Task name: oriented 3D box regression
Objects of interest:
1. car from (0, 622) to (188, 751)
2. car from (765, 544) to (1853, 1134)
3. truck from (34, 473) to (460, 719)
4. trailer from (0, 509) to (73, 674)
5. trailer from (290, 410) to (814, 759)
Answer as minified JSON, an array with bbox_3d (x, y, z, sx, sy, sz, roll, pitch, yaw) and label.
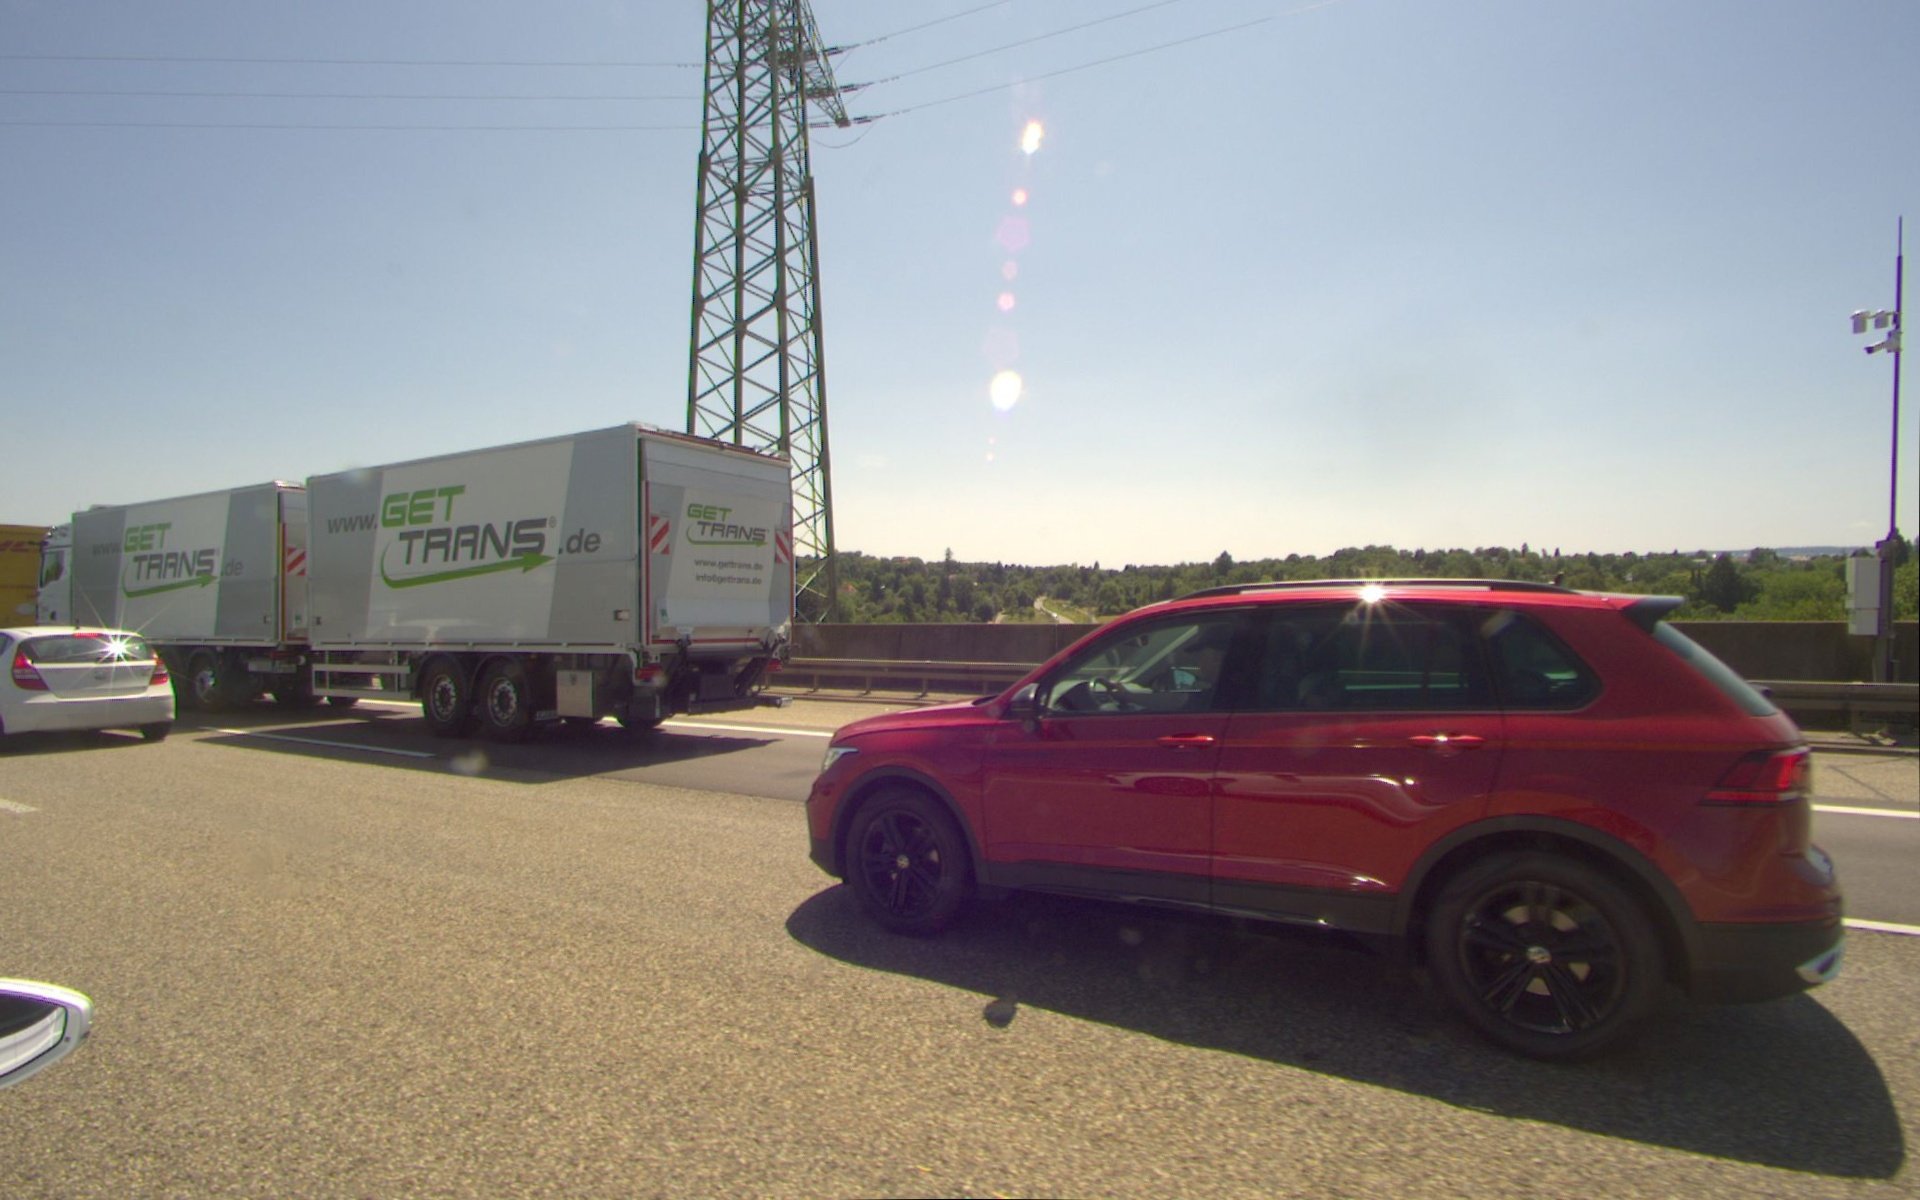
[{"bbox_3d":[-12.273,1.032,13.371,4.231,1.474,1.785,-1,-1,32],"label":"car"},{"bbox_3d":[1.236,0.722,4.720,4.163,1.683,1.772,-1,-1,32],"label":"car"},{"bbox_3d":[-13.902,0.012,19.006,10.851,3.695,2.652,-1,0,32],"label":"truck"},{"bbox_3d":[-28.780,-0.140,28.536,8.883,4.293,2.860,-1,-2,32],"label":"trailer"},{"bbox_3d":[-5.957,-0.104,14.005,7.899,3.748,2.693,-1,0,32],"label":"trailer"}]
